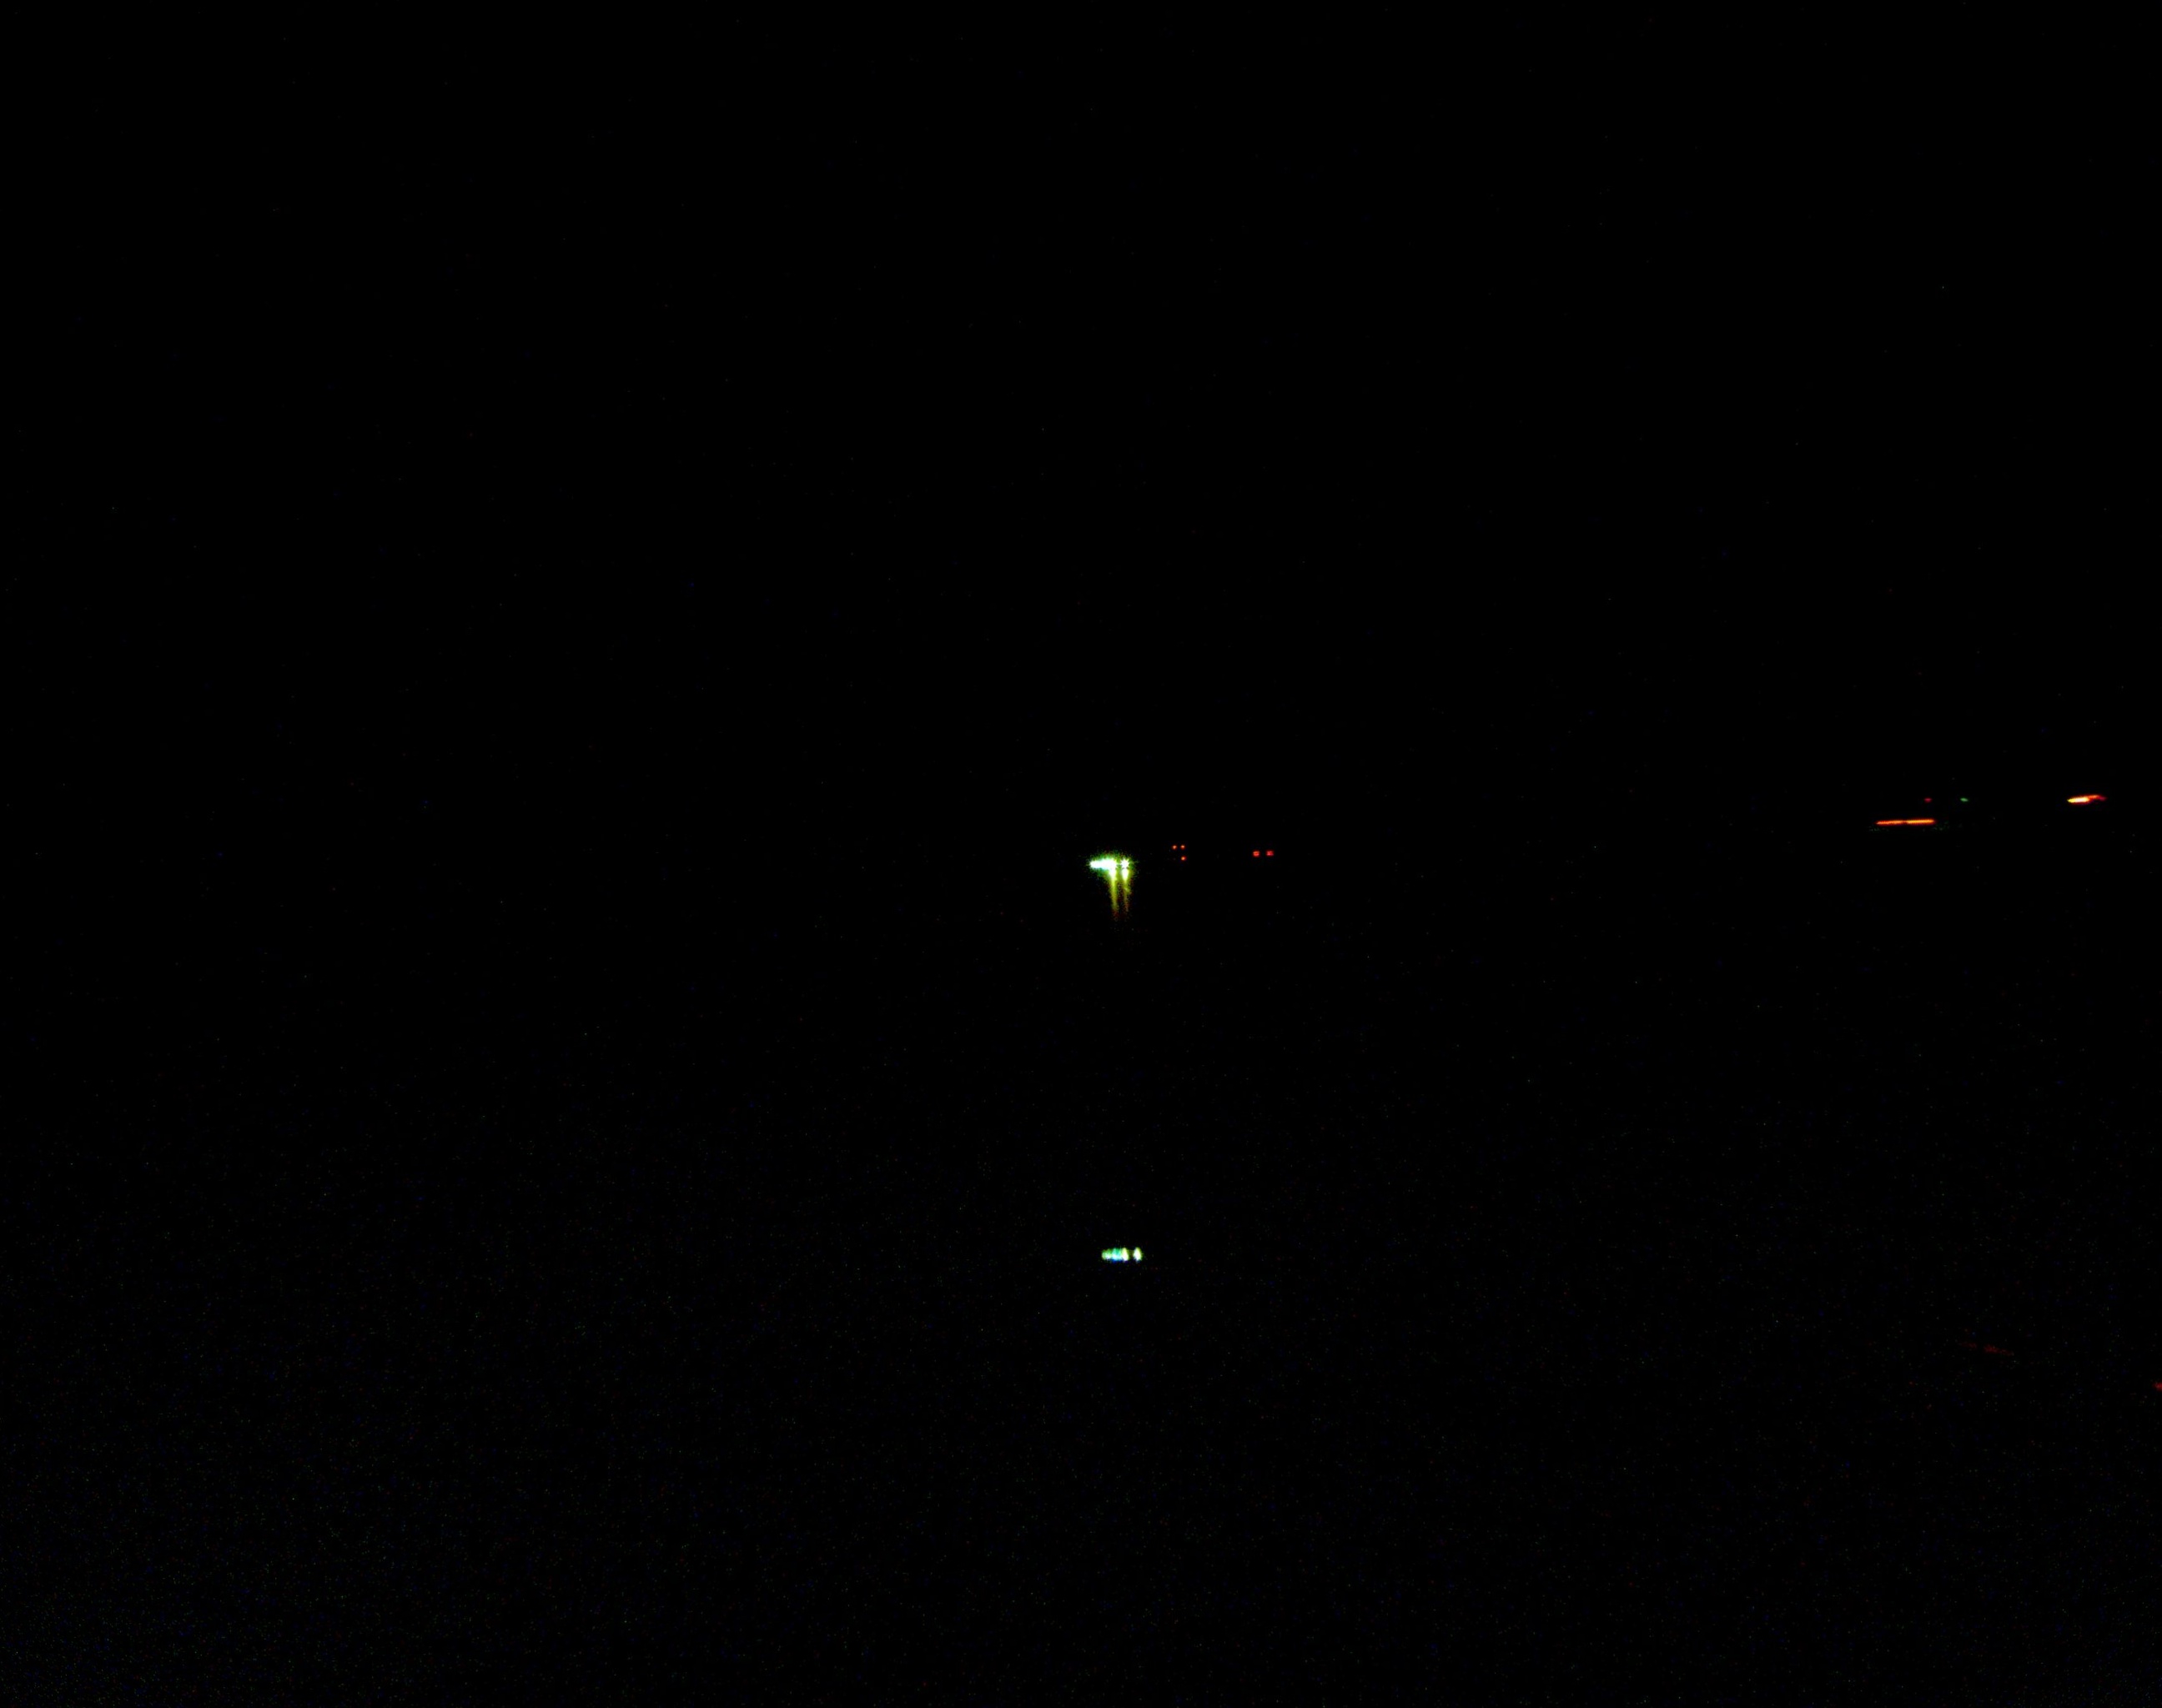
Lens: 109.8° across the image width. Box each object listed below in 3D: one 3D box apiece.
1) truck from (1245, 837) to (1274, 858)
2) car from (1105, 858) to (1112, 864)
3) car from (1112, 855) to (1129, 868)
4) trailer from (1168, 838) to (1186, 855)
[{"bbox_3d":[24.554,-0.838,104.770,2.202,2.710,7.625,-5,0,2],"label":"truck"},{"bbox_3d":[8.656,2.149,239.181,1.999,1.725,4.221,-1,3,-2],"label":"car"},{"bbox_3d":[4.939,0.903,95.487,1.998,1.422,4.330,-5,0,2],"label":"car"},{"bbox_3d":[26.992,-2.025,214.390,3.333,4.407,14.026,-3,0,2],"label":"trailer"}]
